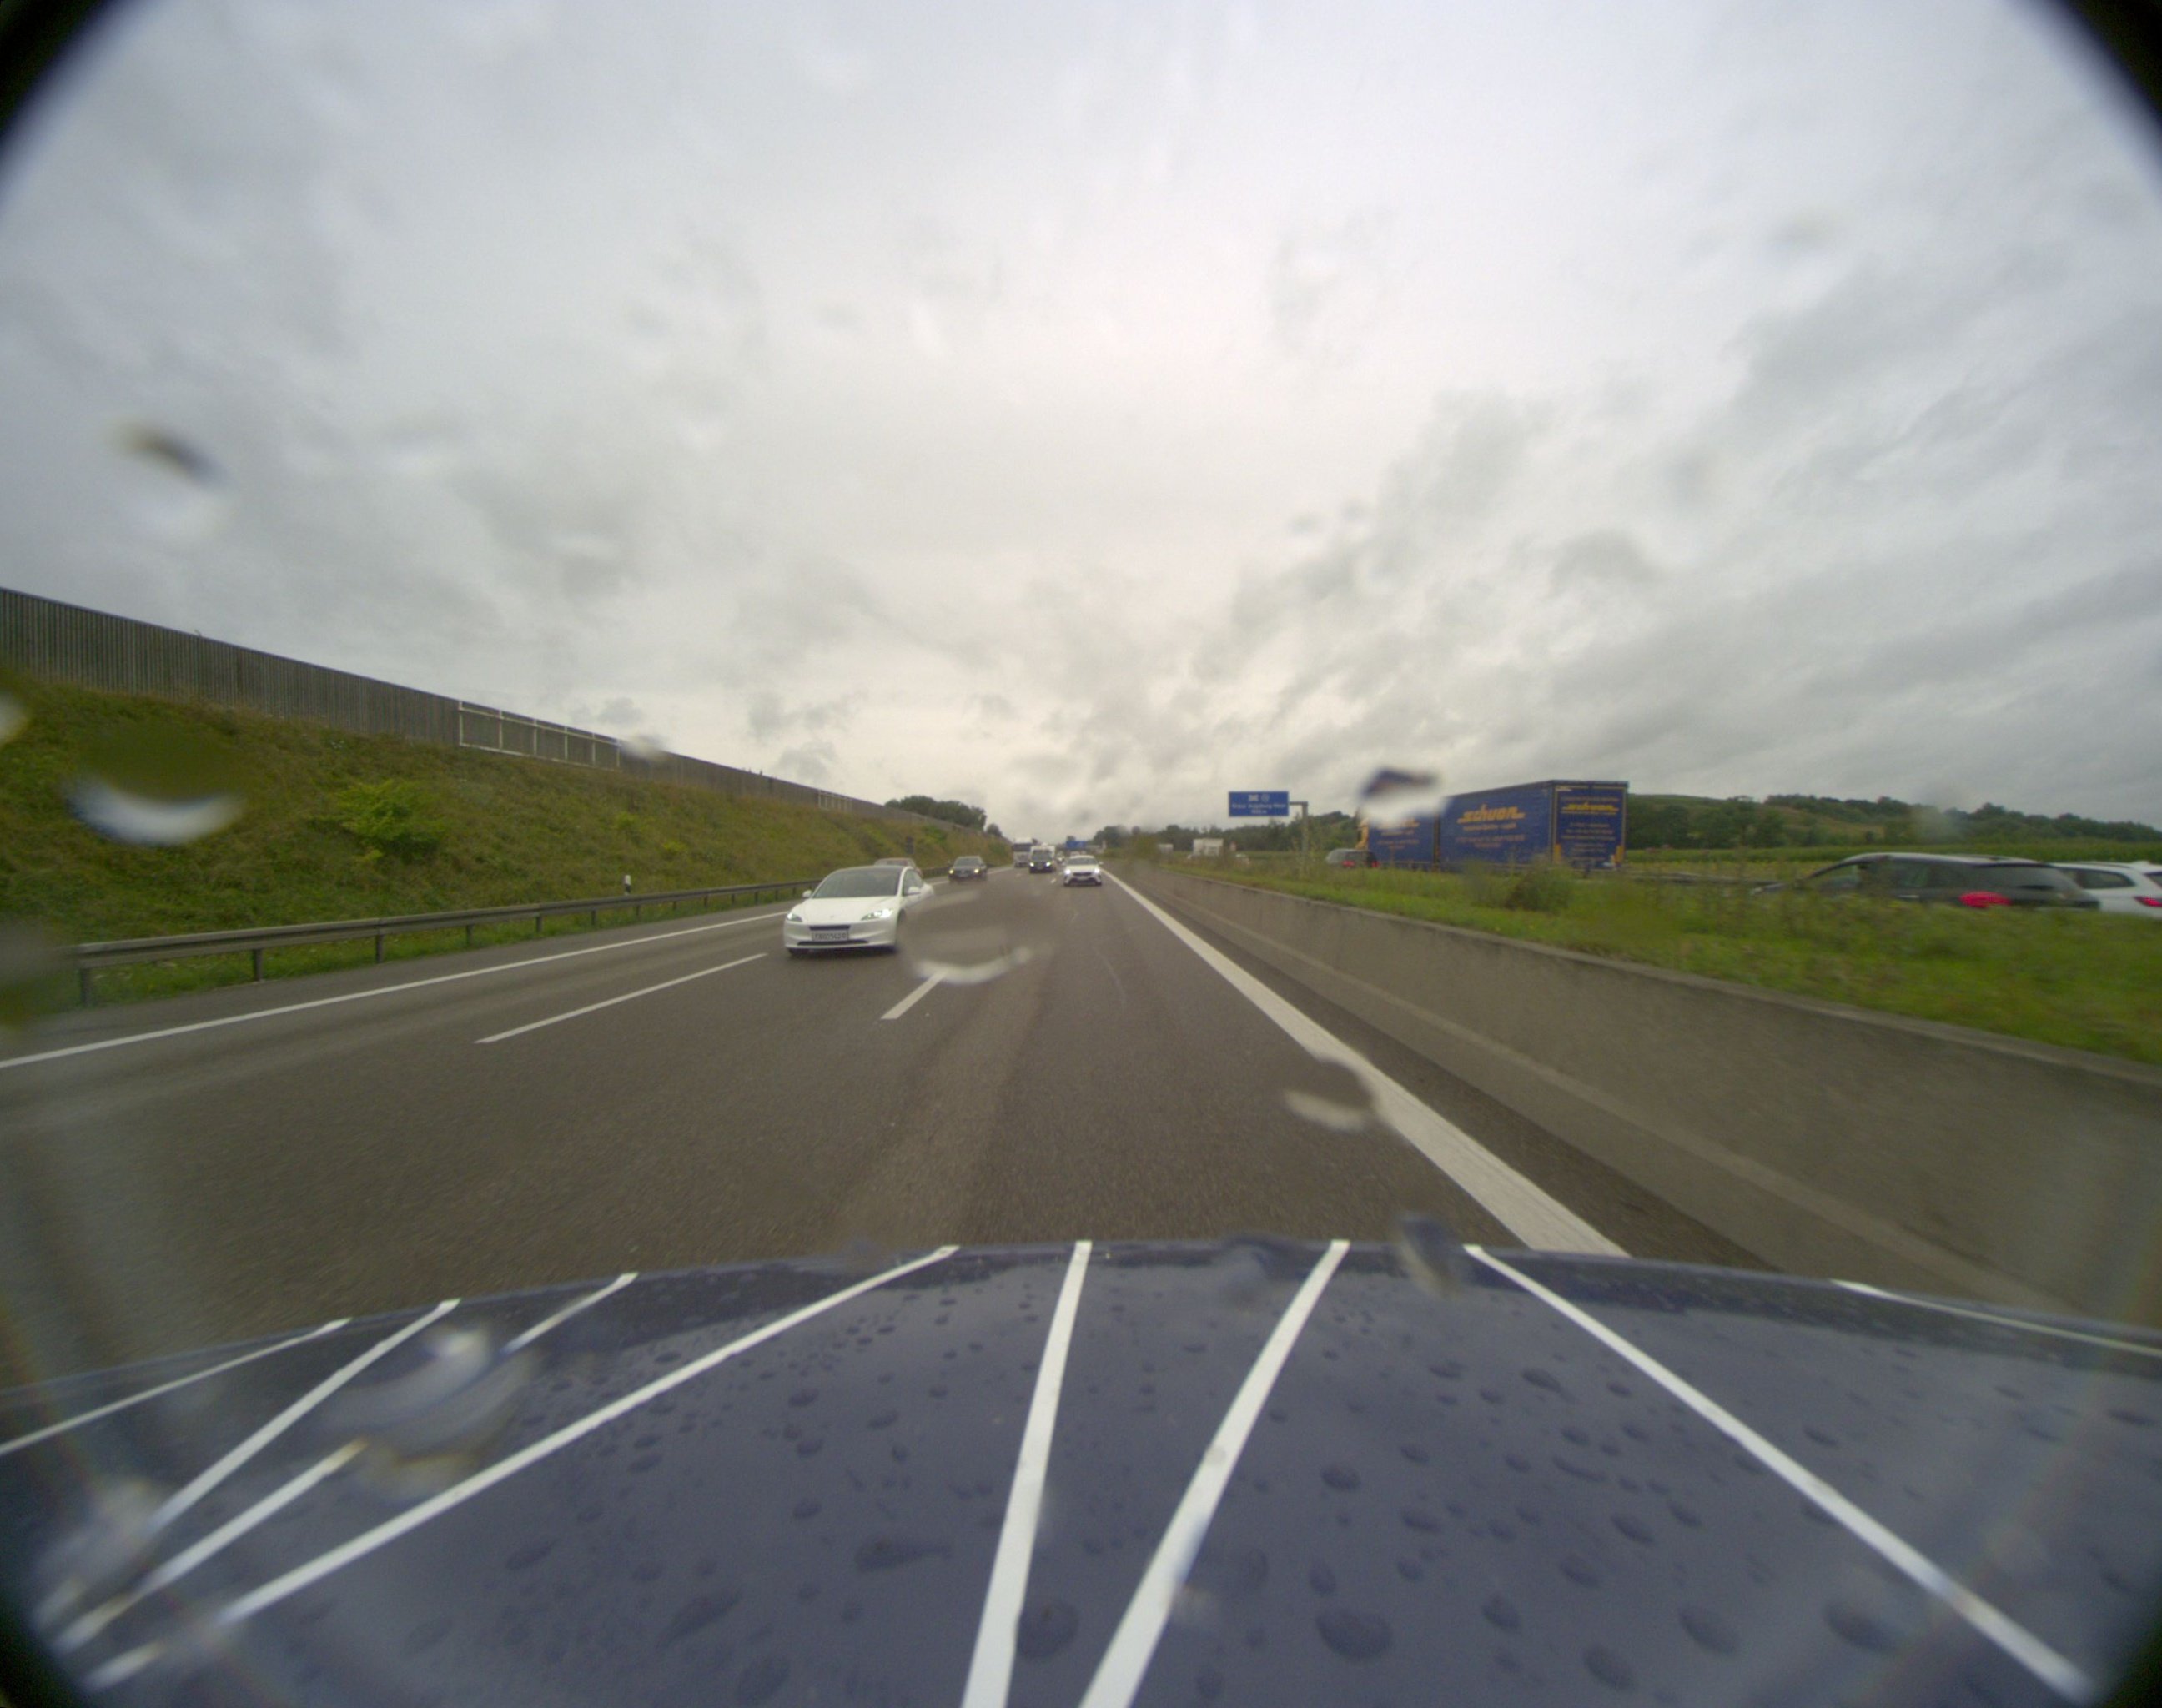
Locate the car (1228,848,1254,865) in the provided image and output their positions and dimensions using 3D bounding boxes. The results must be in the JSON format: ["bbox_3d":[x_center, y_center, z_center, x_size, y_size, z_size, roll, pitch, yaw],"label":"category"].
[{"bbox_3d":[17.398,0.229,82.677,1.998,1.674,3.999,-2,1,0],"label":"car"}]

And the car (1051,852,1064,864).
[{"bbox_3d":[-3.687,0.649,119.790,1.999,1.759,3.999,0,0,-2],"label":"car"}]

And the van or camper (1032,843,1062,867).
[{"bbox_3d":[-3.209,0.054,73.081,2.432,2.139,6.497,-2,1,1],"label":"van or camper"}]

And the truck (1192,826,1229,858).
[{"bbox_3d":[17.588,-1.621,104.066,3.192,3.944,10.809,-2,1,1],"label":"truck"}]

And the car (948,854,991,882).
[{"bbox_3d":[-6.703,0.787,46.135,1.929,1.480,4.485,-2,1,0],"label":"car"}]

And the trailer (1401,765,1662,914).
[{"bbox_3d":[17.156,-0.504,30.624,3.396,4.741,11.679,-2,0,-1],"label":"trailer"}]

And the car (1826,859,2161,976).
[{"bbox_3d":[16.493,0.935,13.341,1.887,1.606,5.014,0,0,0],"label":"car"}]

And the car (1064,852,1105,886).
[{"bbox_3d":[0.202,0.710,37.321,1.841,1.455,3.999,-2,1,1],"label":"car"}]

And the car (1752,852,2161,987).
[{"bbox_3d":[12.935,0.831,11.672,1.758,1.698,4.000,0,0,1],"label":"car"}]

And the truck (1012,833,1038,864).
[{"bbox_3d":[-7.725,-0.787,105.751,3.090,4.003,6.955,-2,1,-1],"label":"truck"}]

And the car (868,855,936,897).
[{"bbox_3d":[-7.502,0.877,32.202,1.878,1.526,3.999,-2,1,0],"label":"car"}]

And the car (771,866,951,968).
[{"bbox_3d":[-3.806,1.013,14.142,1.878,1.355,4.812,-2,1,0],"label":"car"}]

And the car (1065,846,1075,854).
[{"bbox_3d":[-2.641,-0.913,182.912,1.998,1.696,3.999,-2,1,1],"label":"car"}]

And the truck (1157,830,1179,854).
[{"bbox_3d":[17.457,-2.404,153.412,3.233,4.623,9.672,-2,1,0],"label":"truck"}]

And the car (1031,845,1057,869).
[{"bbox_3d":[-3.235,0.240,67.576,1.998,2.002,4.937,-2,1,1],"label":"car"}]

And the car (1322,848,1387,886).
[{"bbox_3d":[13.541,0.582,37.871,1.871,1.774,4.000,0,1,1],"label":"car"}]

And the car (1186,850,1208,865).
[{"bbox_3d":[13.169,0.369,86.271,1.820,1.643,3.999,-2,1,0],"label":"car"}]

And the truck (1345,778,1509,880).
[{"bbox_3d":[17.151,-1.180,38.959,3.421,4.339,10.989,-2,1,1],"label":"truck"}]
